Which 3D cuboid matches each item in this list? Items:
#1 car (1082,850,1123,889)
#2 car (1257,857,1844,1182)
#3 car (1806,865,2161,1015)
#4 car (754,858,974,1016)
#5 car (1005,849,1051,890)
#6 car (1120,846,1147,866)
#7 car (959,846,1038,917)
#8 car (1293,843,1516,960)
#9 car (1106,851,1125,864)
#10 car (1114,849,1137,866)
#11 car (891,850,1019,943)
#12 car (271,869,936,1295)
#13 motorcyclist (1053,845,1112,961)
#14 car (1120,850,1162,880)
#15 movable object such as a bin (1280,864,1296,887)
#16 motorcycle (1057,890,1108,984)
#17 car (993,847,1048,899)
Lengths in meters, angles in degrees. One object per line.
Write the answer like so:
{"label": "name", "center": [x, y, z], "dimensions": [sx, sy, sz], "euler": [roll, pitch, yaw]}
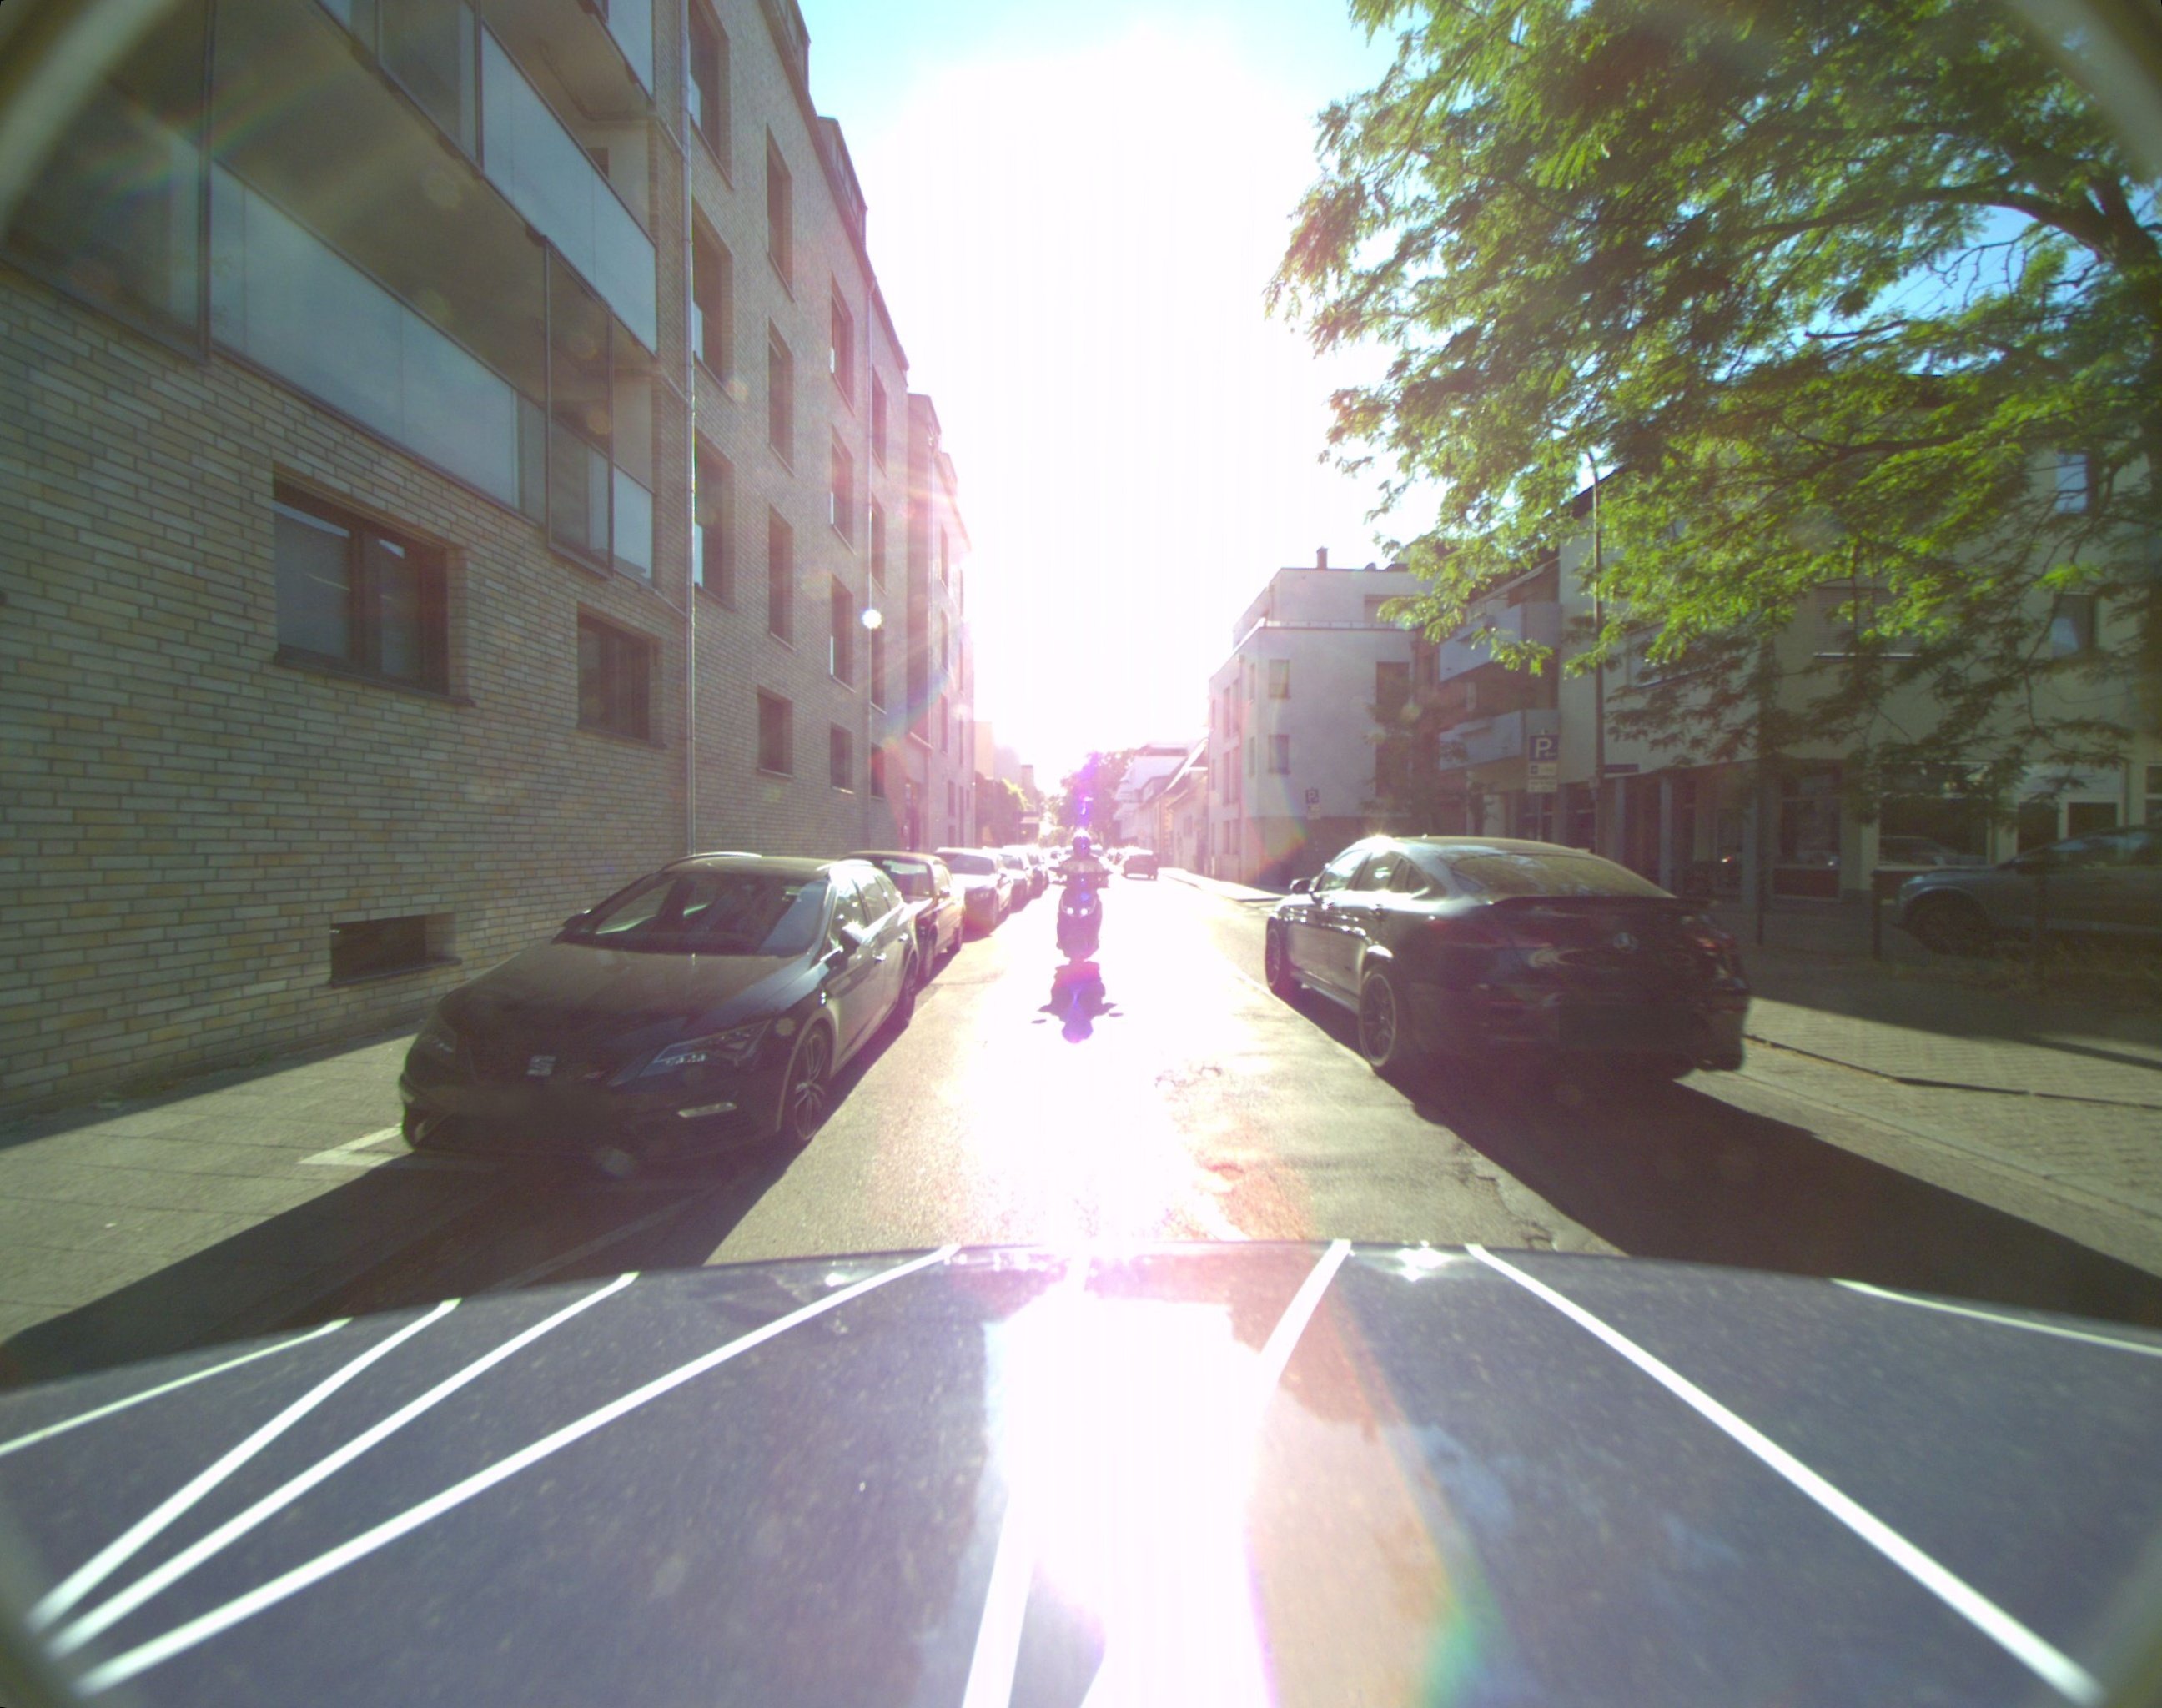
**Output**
{"label": "car", "center": [0.943, 0.663, 34.788], "dimensions": [1.708, 1.570, 3.915], "euler": [-1, 1, 0]}
{"label": "car", "center": [2.867, 0.850, 5.998], "dimensions": [1.944, 1.567, 4.318], "euler": [1, 1, 0]}
{"label": "car", "center": [11.383, 0.890, 9.359], "dimensions": [1.524, 1.400, 3.639], "euler": [1, 1, 3]}
{"label": "car", "center": [-2.527, 0.865, 9.906], "dimensions": [1.668, 1.507, 4.218], "euler": [2, 1, -1]}
{"label": "car", "center": [-2.126, 0.573, 30.785], "dimensions": [1.732, 1.515, 3.653], "euler": [1, 1, -3]}
{"label": "car", "center": [4.717, 0.152, 68.623], "dimensions": [1.999, 1.619, 3.999], "euler": [-6, 1, 0]}
{"label": "car", "center": [-2.170, 0.646, 21.071], "dimensions": [1.671, 1.724, 4.838], "euler": [1, 1, 0]}
{"label": "car", "center": [5.568, 0.687, 13.943], "dimensions": [1.936, 1.695, 5.100], "euler": [-2, 1, 1]}
{"label": "car", "center": [3.961, 0.401, 87.466], "dimensions": [1.999, 1.458, 3.999], "euler": [1, 1, 0]}
{"label": "car", "center": [4.513, 0.346, 77.296], "dimensions": [1.999, 1.614, 3.999], "euler": [1, 1, 0]}
{"label": "car", "center": [-2.416, 0.734, 15.763], "dimensions": [1.729, 1.521, 4.625], "euler": [4, 1, 1]}
{"label": "car", "center": [-2.273, 0.929, 5.263], "dimensions": [1.701, 1.459, 4.718], "euler": [2, 1, -1]}
{"label": "motorcyclist", "center": [0.022, 0.605, 9.752], "dimensions": [0.717, 1.424, 0.746], "euler": [1, 1, 1]}
{"label": "car", "center": [3.121, 0.552, 40.427], "dimensions": [1.812, 1.458, 3.999], "euler": [1, 1, -2]}
{"label": "movable object such as a bin", "center": [7.940, 0.809, 29.177], "dimensions": [0.491, 0.871, 0.433], "euler": [1, 1, -3]}
{"label": "motorcycle", "center": [0.030, 1.024, 9.901], "dimensions": [0.598, 1.004, 1.821], "euler": [1, 1, 1]}
{"label": "car", "center": [-2.005, 0.589, 26.318], "dimensions": [1.655, 1.582, 4.341], "euler": [2, 0, -2]}
